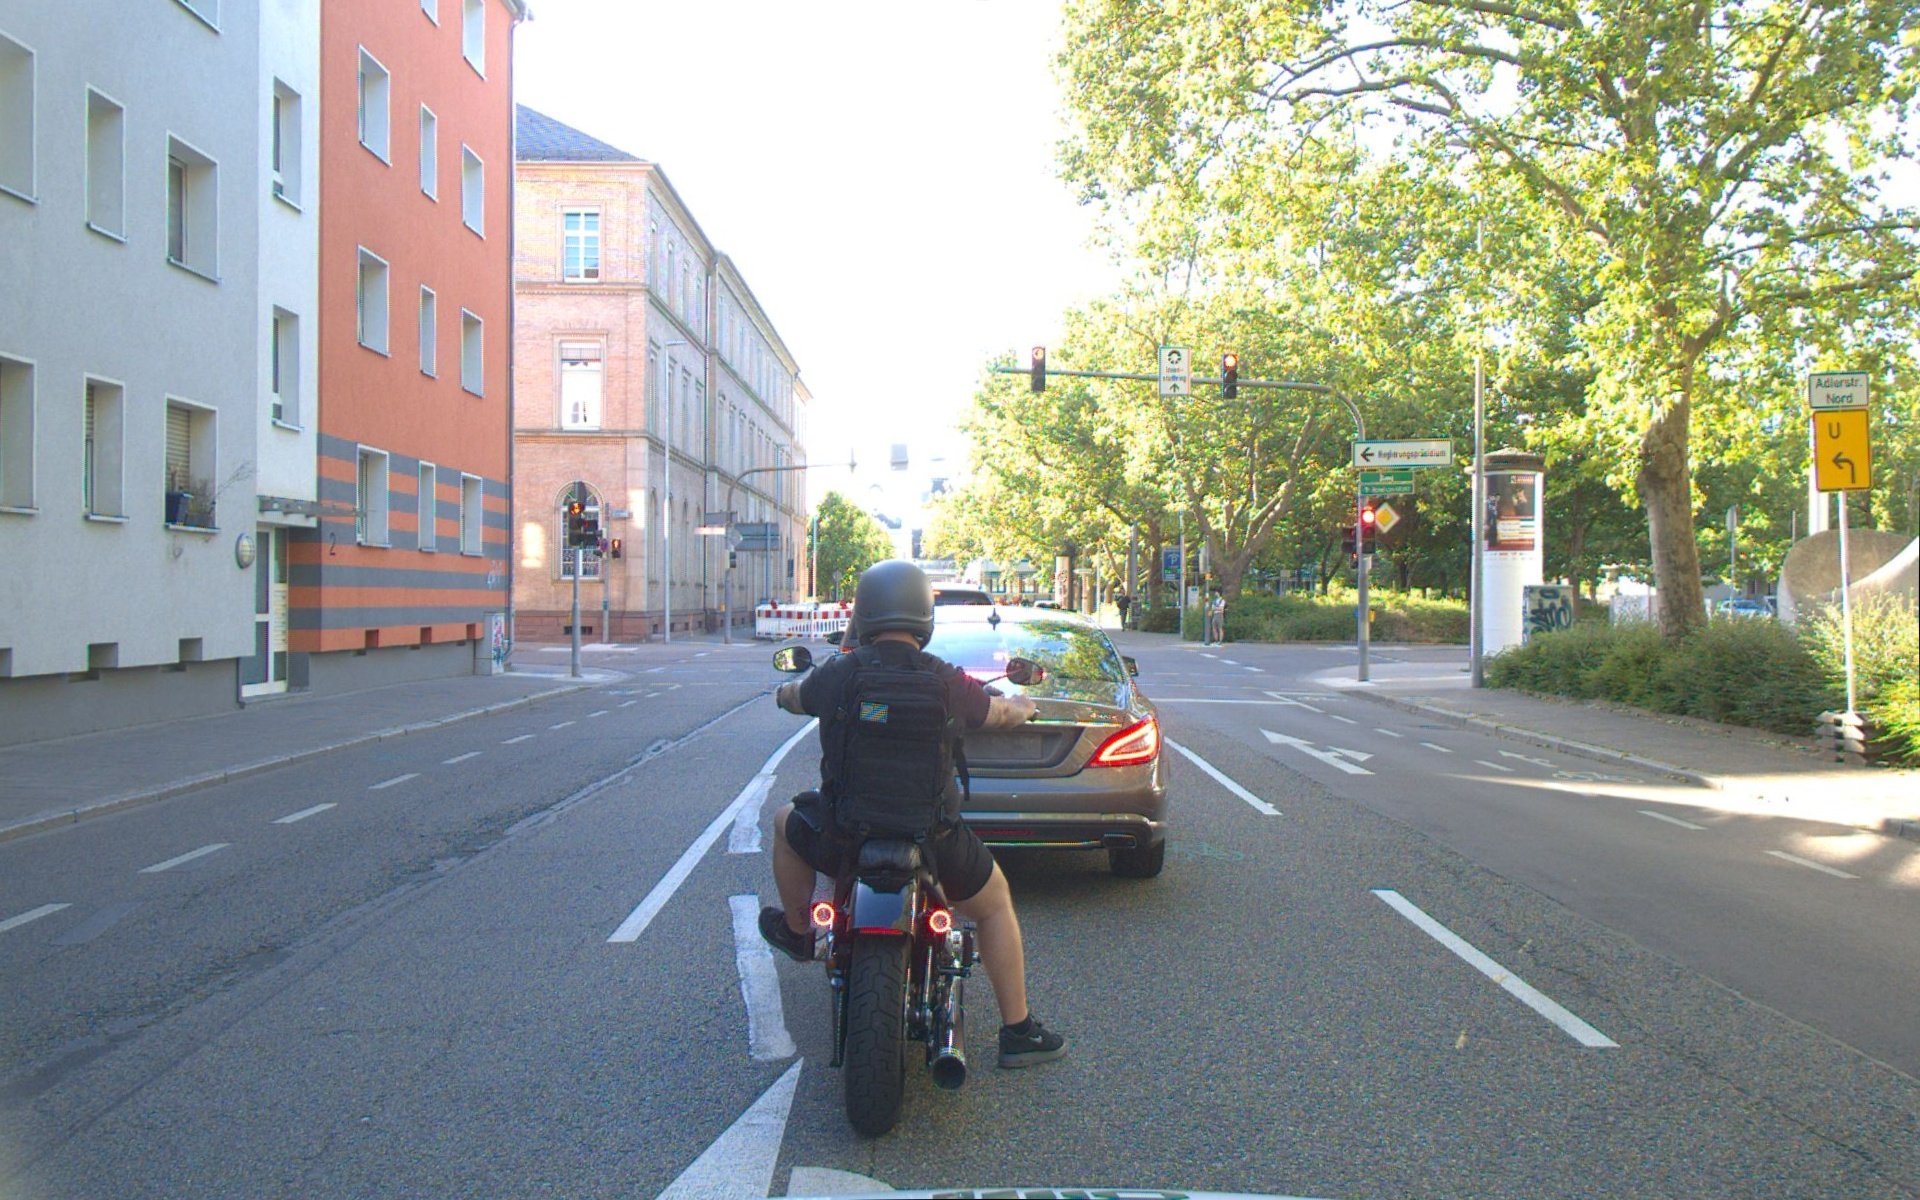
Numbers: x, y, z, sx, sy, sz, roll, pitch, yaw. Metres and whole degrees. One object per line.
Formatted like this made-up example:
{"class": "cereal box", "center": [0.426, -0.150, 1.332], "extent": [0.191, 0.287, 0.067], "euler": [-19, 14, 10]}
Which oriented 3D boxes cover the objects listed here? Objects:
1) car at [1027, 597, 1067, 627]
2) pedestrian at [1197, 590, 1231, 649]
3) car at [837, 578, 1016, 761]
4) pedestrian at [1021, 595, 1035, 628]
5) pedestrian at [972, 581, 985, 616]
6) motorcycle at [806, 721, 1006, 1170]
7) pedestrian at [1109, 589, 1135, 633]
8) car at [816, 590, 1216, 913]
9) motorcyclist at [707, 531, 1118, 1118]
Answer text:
{"class": "car", "center": [4.368, 0.600, 83.492], "extent": [1.740, 1.453, 3.801], "euler": [0, 0, -1]}
{"class": "pedestrian", "center": [8.181, 0.619, 53.323], "extent": [0.980, 1.858, 1.077], "euler": [1, -1, 5]}
{"class": "car", "center": [-0.330, 0.610, 16.716], "extent": [1.588, 1.622, 3.999], "euler": [0, 0, -1]}
{"class": "pedestrian", "center": [4.272, 0.704, 104.388], "extent": [0.797, 2.049, 1.270], "euler": [1, 0, -1]}
{"class": "pedestrian", "center": [1.137, -0.076, 100.855], "extent": [0.748, 2.087, 0.712], "euler": [1, -1, -1]}
{"class": "motorcycle", "center": [-0.154, 0.972, 5.301], "extent": [0.503, 1.020, 2.013], "euler": [1, 0, -1]}
{"class": "pedestrian", "center": [7.121, 0.485, 72.667], "extent": [0.741, 1.943, 0.917], "euler": [1, -1, -29]}
{"class": "car", "center": [0.237, 0.696, 9.608], "extent": [1.844, 1.475, 3.819], "euler": [1, 0, -1]}
{"class": "motorcyclist", "center": [-0.140, 0.633, 5.282], "extent": [1.125, 1.626, 1.288], "euler": [1, 0, -1]}
